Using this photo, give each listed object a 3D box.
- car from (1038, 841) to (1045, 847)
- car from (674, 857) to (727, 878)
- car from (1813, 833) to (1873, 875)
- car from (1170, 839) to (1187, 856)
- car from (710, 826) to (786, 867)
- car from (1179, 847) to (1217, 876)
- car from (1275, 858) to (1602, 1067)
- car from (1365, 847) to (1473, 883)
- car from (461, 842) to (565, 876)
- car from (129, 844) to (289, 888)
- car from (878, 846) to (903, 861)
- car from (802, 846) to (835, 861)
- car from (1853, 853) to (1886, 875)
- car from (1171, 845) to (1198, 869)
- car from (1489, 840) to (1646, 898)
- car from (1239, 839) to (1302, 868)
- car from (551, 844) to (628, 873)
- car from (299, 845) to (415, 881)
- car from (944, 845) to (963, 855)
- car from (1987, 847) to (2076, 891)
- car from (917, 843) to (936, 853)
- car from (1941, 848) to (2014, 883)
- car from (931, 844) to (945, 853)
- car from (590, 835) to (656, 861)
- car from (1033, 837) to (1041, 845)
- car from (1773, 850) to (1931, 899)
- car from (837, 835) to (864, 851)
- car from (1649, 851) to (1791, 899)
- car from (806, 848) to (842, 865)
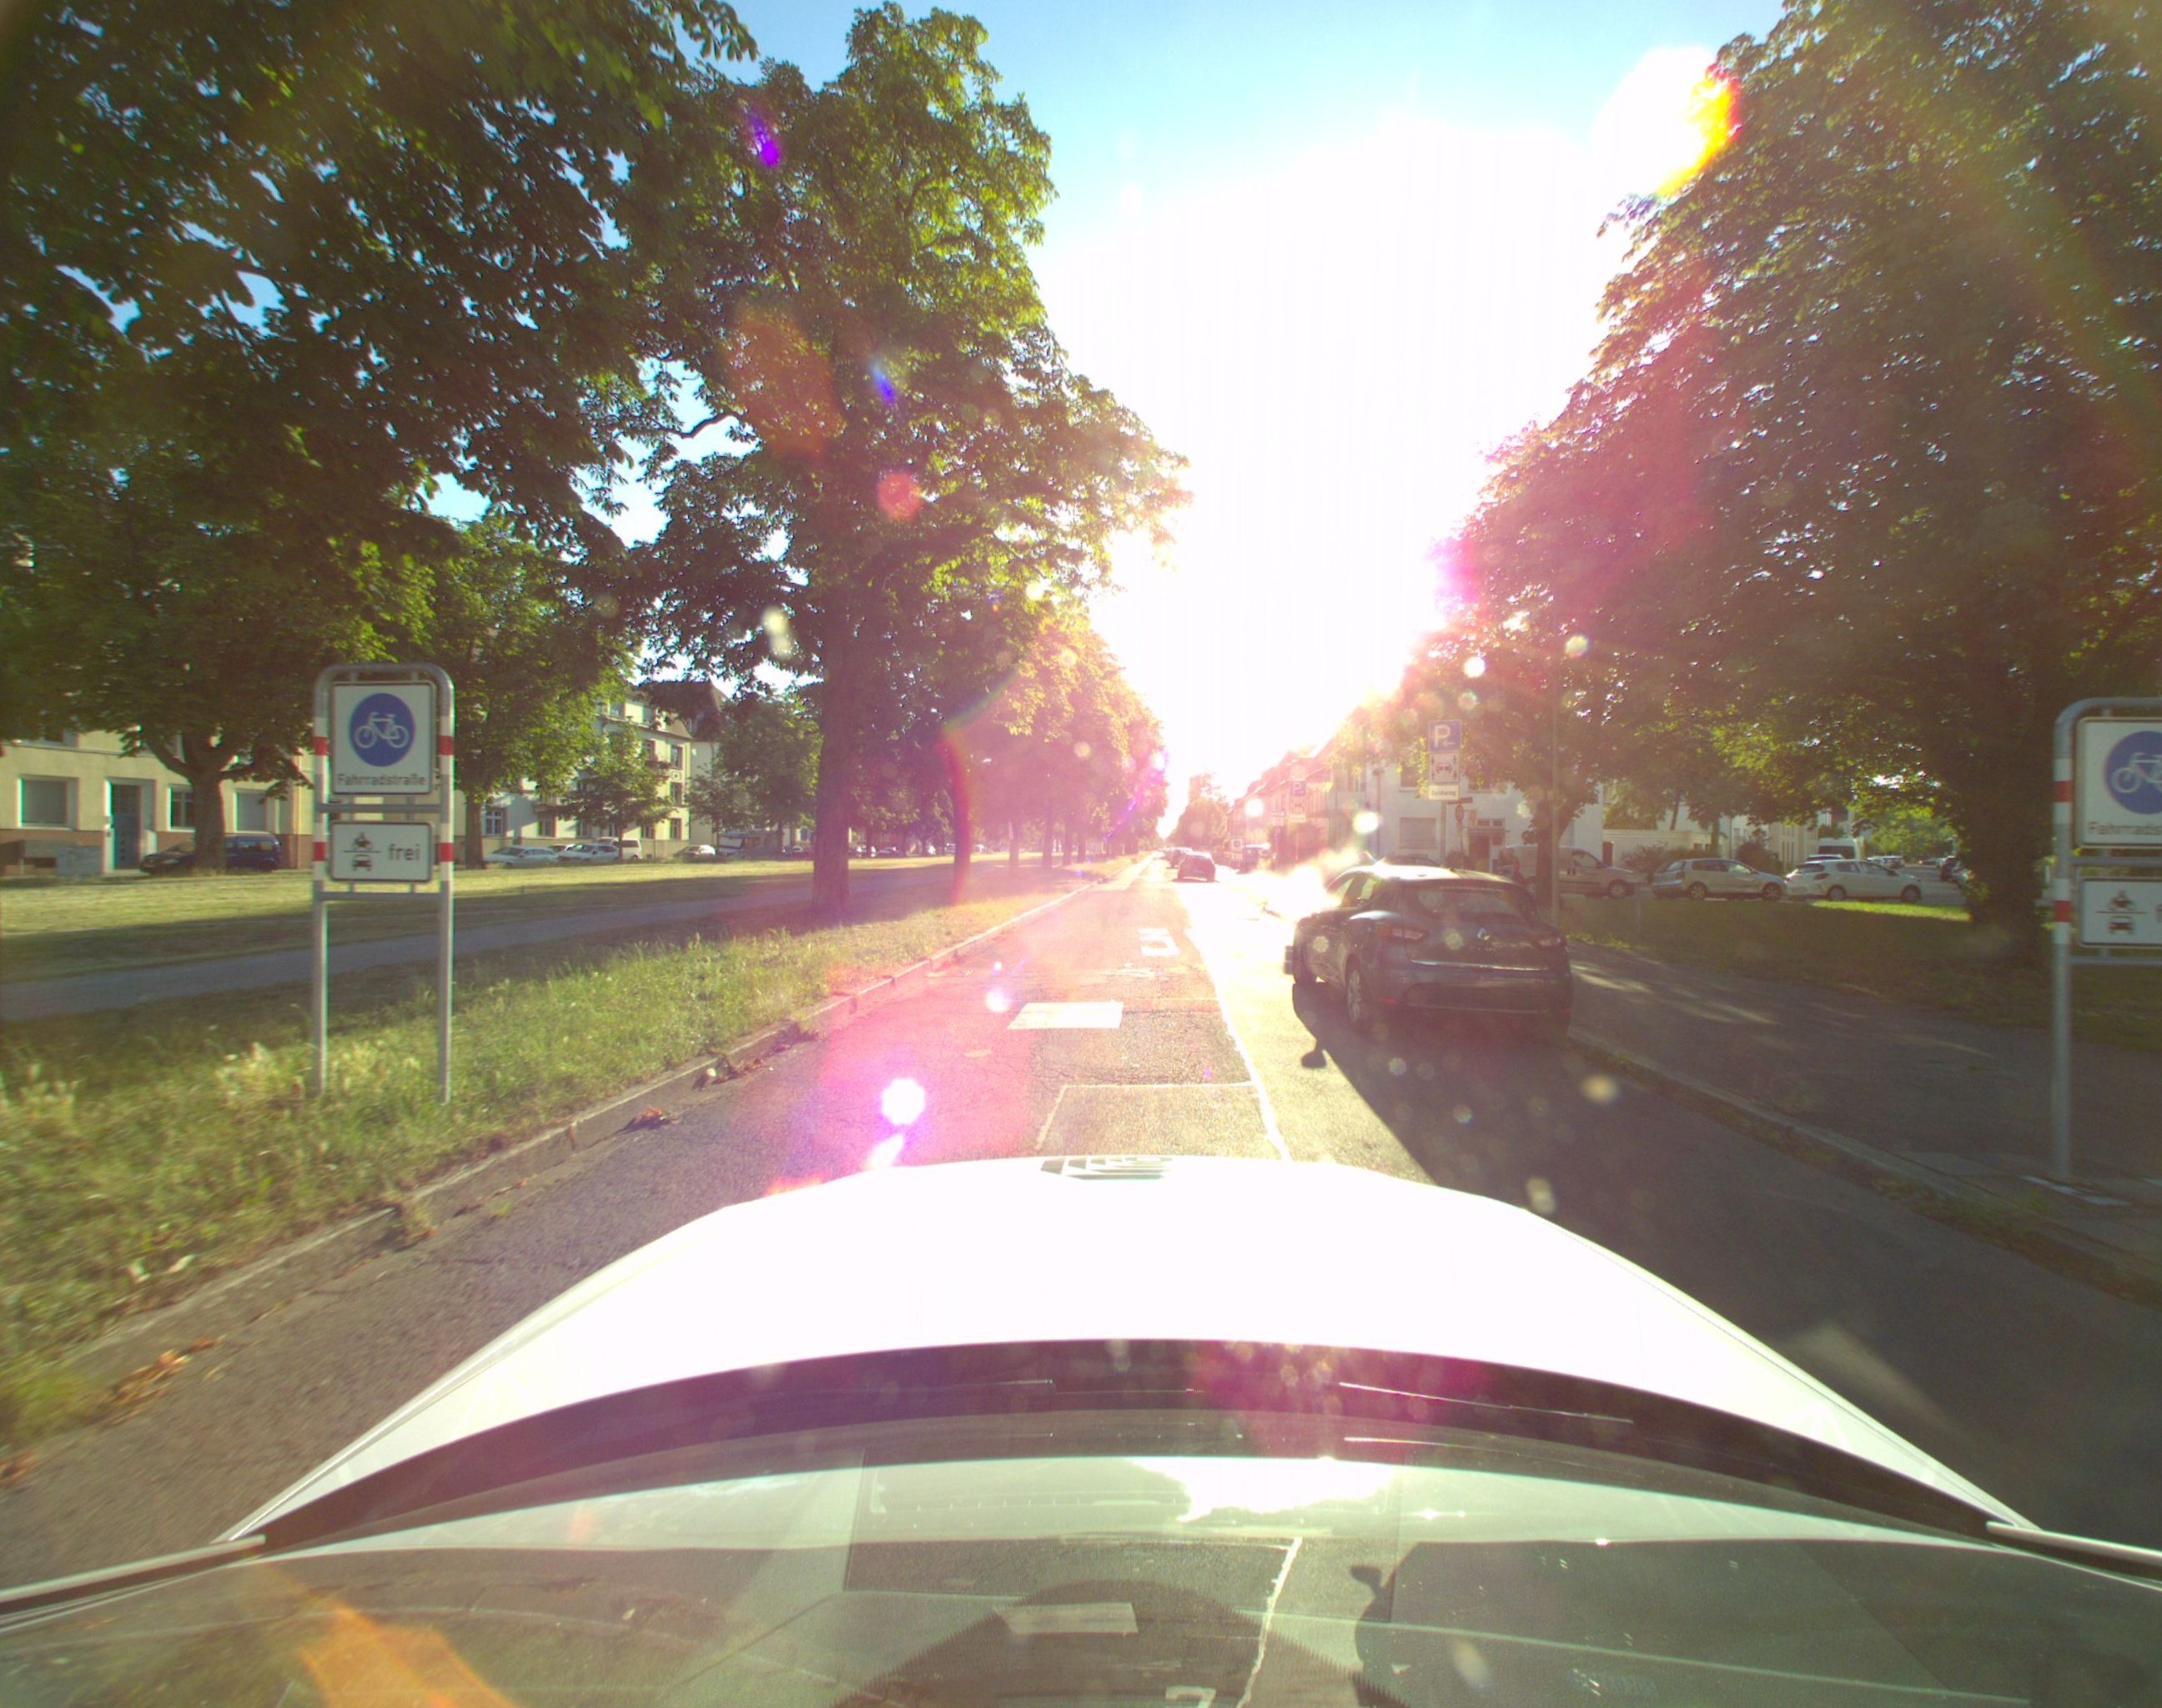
[{"bbox_3d":[-11.579,-2.857,238.073,1.605,1.538,3.359,2,-1,4],"label":"car"},{"bbox_3d":[-33.412,1.173,71.610,1.983,1.659,4.580,2,0,7],"label":"car"},{"bbox_3d":[45.413,0.014,48.496,4.542,2.337,2.088,2,0,-41],"label":"car"},{"bbox_3d":[12.703,-0.829,106.167,1.984,2.013,4.005,2,0,5],"label":"car"},{"bbox_3d":[-28.147,-0.662,69.259,2.380,3.130,7.866,3,1,6],"label":"car"},{"bbox_3d":[5.984,0.378,42.049,1.701,1.359,4.210,2,0,6],"label":"car"},{"bbox_3d":[3.316,0.848,8.611,1.718,1.511,4.546,2,0,4],"label":"car"},{"bbox_3d":[14.445,0.454,34.980,3.968,1.446,1.718,1,0,5],"label":"car"},{"bbox_3d":[-30.741,0.239,44.249,1.983,1.659,4.580,2,0,7],"label":"car"},{"bbox_3d":[-37.514,0.486,35.220,1.983,1.736,4.320,2,0,7],"label":"car"},{"bbox_3d":[-24.578,-0.037,105.004,1.802,1.781,4.129,2,0,6],"label":"car"},{"bbox_3d":[-30.698,-0.040,95.347,1.983,1.659,4.383,2,0,7],"label":"car"},{"bbox_3d":[61.898,0.796,63.938,1.738,1.623,3.865,3,0,44],"label":"car"},{"bbox_3d":[8.607,0.220,67.698,1.984,1.781,4.006,2,1,5],"label":"car"},{"bbox_3d":[16.735,0.508,28.187,4.221,1.875,2.034,1,0,5],"label":"car"},{"bbox_3d":[13.145,-0.024,56.741,3.973,1.822,1.760,0,-5,1],"label":"car"},{"bbox_3d":[-30.054,0.250,49.984,1.788,1.554,4.425,3,1,4],"label":"car"},{"bbox_3d":[-36.721,0.451,41.470,1.983,1.659,4.008,2,0,7],"label":"car"},{"bbox_3d":[-21.162,-0.634,135.517,2.012,1.659,3.991,2,0,6],"label":"car"},{"bbox_3d":[36.990,0.511,31.787,4.023,1.552,1.976,-1,2,-44],"label":"car"},{"bbox_3d":[-26.813,-0.969,141.694,1.983,1.659,4.364,2,0,7],"label":"car"},{"bbox_3d":[43.045,0.512,39.187,1.975,1.570,4.133,1,1,43],"label":"car"},{"bbox_3d":[-26.222,-1.027,149.254,1.632,1.643,3.859,2,0,4],"label":"car"},{"bbox_3d":[-34.722,-0.492,61.869,1.984,1.949,4.884,0,1,4],"label":"car"},{"bbox_3d":[-11.892,-3.467,221.618,1.646,1.938,3.572,2,-1,5],"label":"car"},{"bbox_3d":[25.993,0.690,27.534,3.908,1.524,1.524,1,-1,0],"label":"car"},{"bbox_3d":[-29.987,-1.396,106.093,1.985,2.013,4.004,2,0,4],"label":"car"},{"bbox_3d":[21.369,0.684,27.340,3.542,1.516,1.605,0,0,-1],"label":"car"},{"bbox_3d":[-26.683,0.265,84.747,1.870,1.674,4.323,2,0,6],"label":"car"}]
